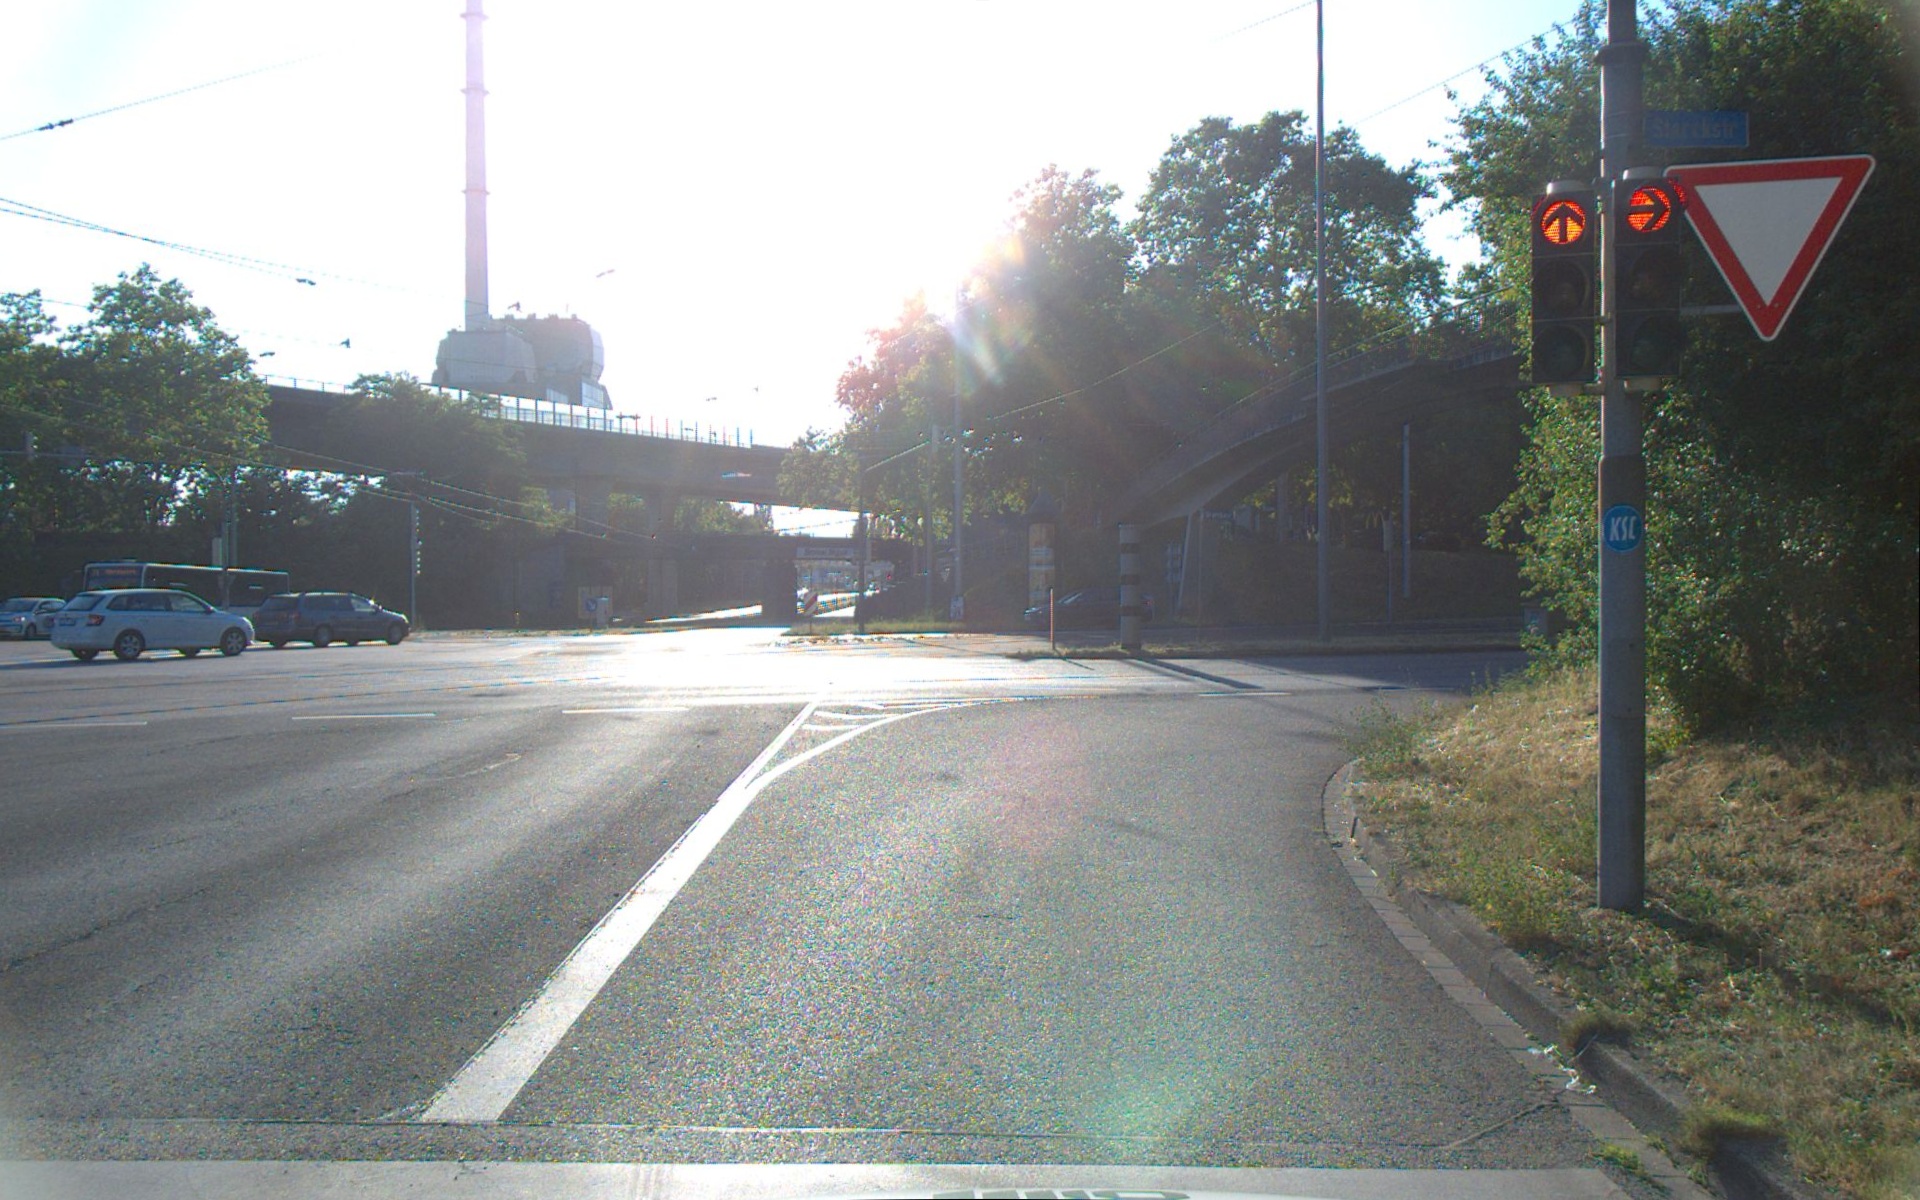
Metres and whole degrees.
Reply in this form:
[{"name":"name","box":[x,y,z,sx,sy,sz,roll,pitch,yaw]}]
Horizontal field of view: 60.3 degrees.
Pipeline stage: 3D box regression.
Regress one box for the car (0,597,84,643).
[{"name":"car","box":[-32.225,0.666,57.446,1.574,1.538,4.006,1,0,-3]}]

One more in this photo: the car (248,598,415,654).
[{"name":"car","box":[-17.151,0.682,45.350,1.632,1.429,4.442,1,0,24]}]

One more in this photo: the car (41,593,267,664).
[{"name":"car","box":[-17.248,0.572,35.578,1.634,1.429,4.189,1,0,29]}]

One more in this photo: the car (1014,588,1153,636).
[{"name":"car","box":[4.250,0.399,57.146,4.505,1.602,1.685,1,0,-18]}]

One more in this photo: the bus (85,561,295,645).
[{"name":"bus","box":[-31.993,0.222,69.610,2.491,3.185,12.919,-1,-1,2]}]
